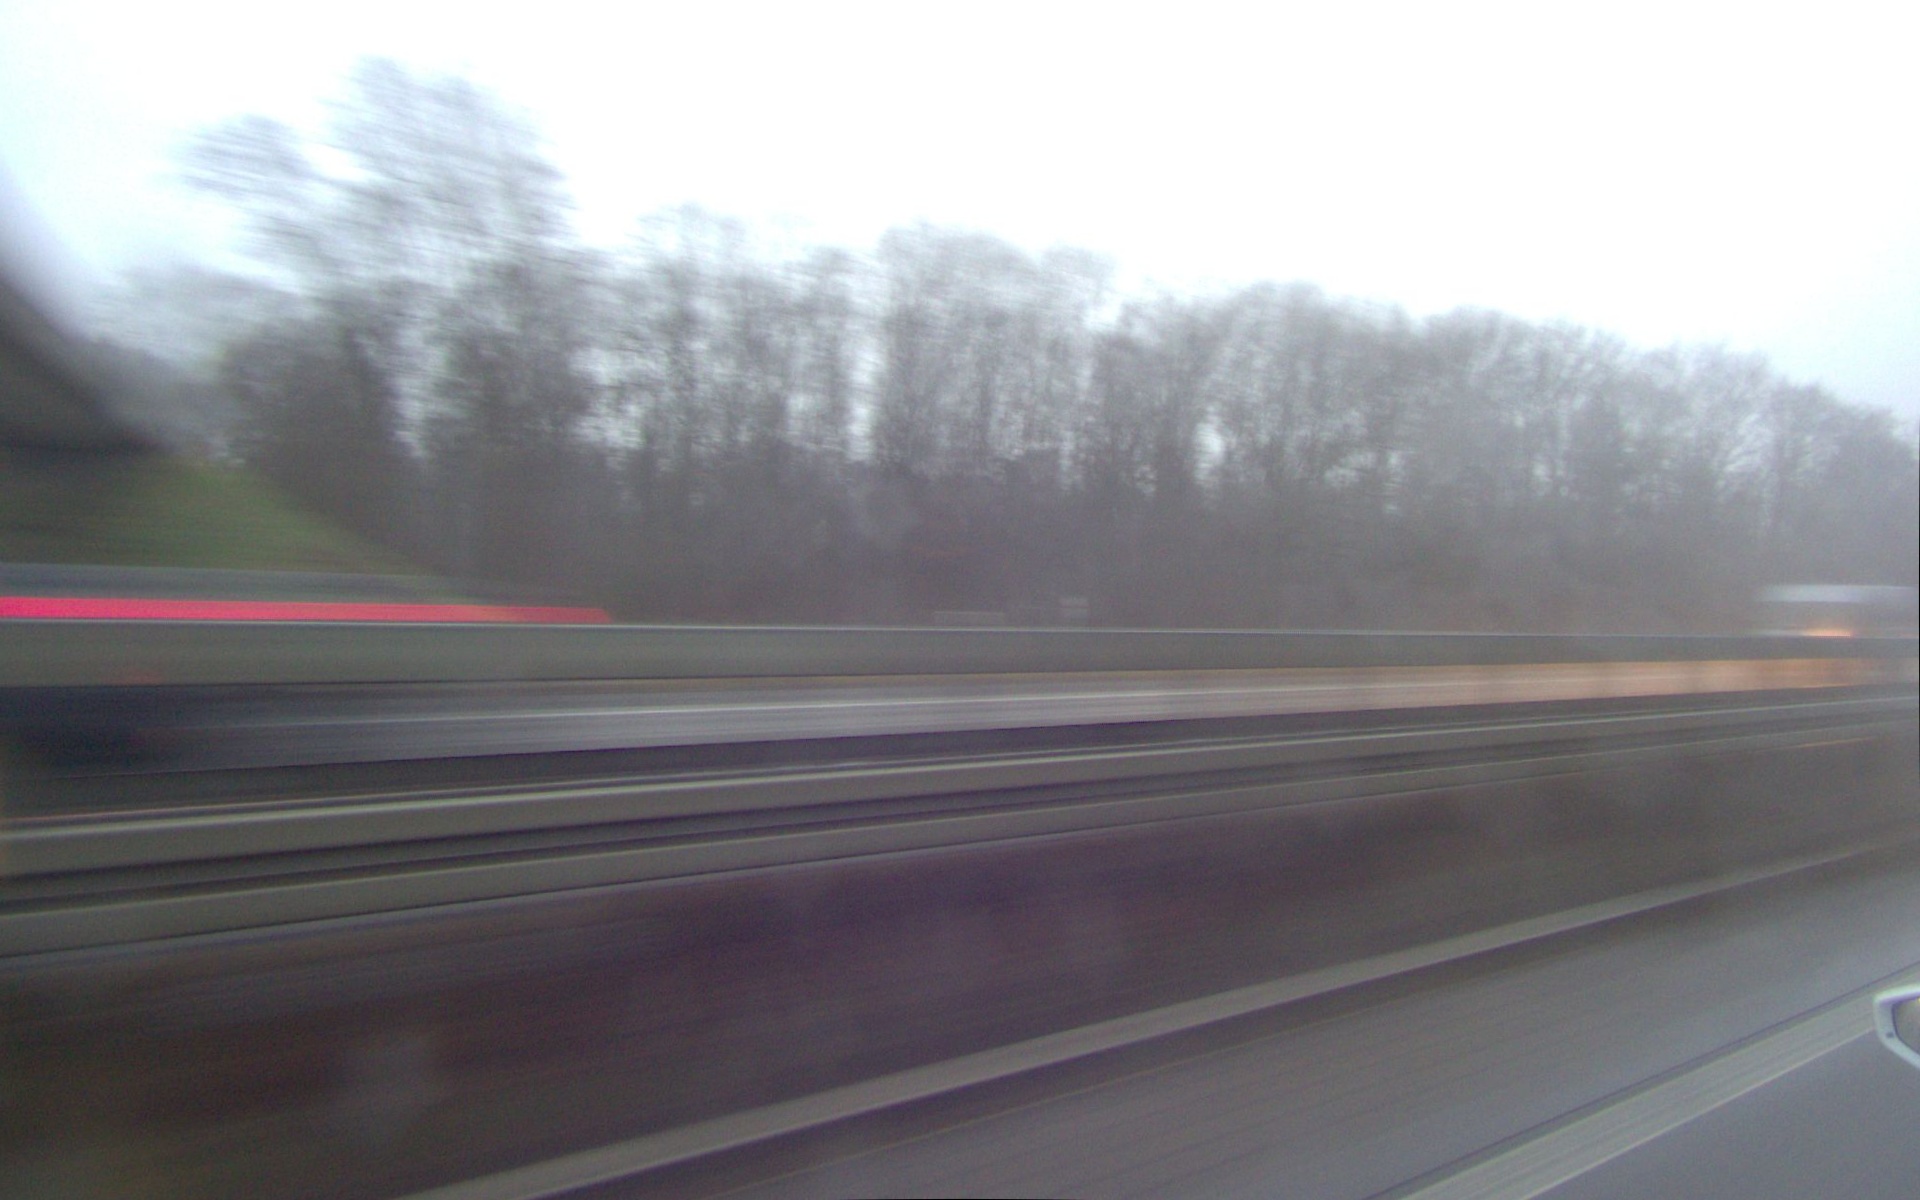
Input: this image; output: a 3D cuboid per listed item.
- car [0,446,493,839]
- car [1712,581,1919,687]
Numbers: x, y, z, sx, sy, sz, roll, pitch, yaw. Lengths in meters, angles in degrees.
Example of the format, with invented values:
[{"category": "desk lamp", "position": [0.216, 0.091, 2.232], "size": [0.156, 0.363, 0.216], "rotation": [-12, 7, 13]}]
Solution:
[{"category": "car", "position": [-5.337, 0.158, 5.105], "size": [5.200, 1.792, 1.894], "rotation": [2, 1, -31]}, {"category": "car", "position": [22.927, 0.887, 26.769], "size": [6.197, 2.556, 2.464], "rotation": [2, 0, -31]}]
